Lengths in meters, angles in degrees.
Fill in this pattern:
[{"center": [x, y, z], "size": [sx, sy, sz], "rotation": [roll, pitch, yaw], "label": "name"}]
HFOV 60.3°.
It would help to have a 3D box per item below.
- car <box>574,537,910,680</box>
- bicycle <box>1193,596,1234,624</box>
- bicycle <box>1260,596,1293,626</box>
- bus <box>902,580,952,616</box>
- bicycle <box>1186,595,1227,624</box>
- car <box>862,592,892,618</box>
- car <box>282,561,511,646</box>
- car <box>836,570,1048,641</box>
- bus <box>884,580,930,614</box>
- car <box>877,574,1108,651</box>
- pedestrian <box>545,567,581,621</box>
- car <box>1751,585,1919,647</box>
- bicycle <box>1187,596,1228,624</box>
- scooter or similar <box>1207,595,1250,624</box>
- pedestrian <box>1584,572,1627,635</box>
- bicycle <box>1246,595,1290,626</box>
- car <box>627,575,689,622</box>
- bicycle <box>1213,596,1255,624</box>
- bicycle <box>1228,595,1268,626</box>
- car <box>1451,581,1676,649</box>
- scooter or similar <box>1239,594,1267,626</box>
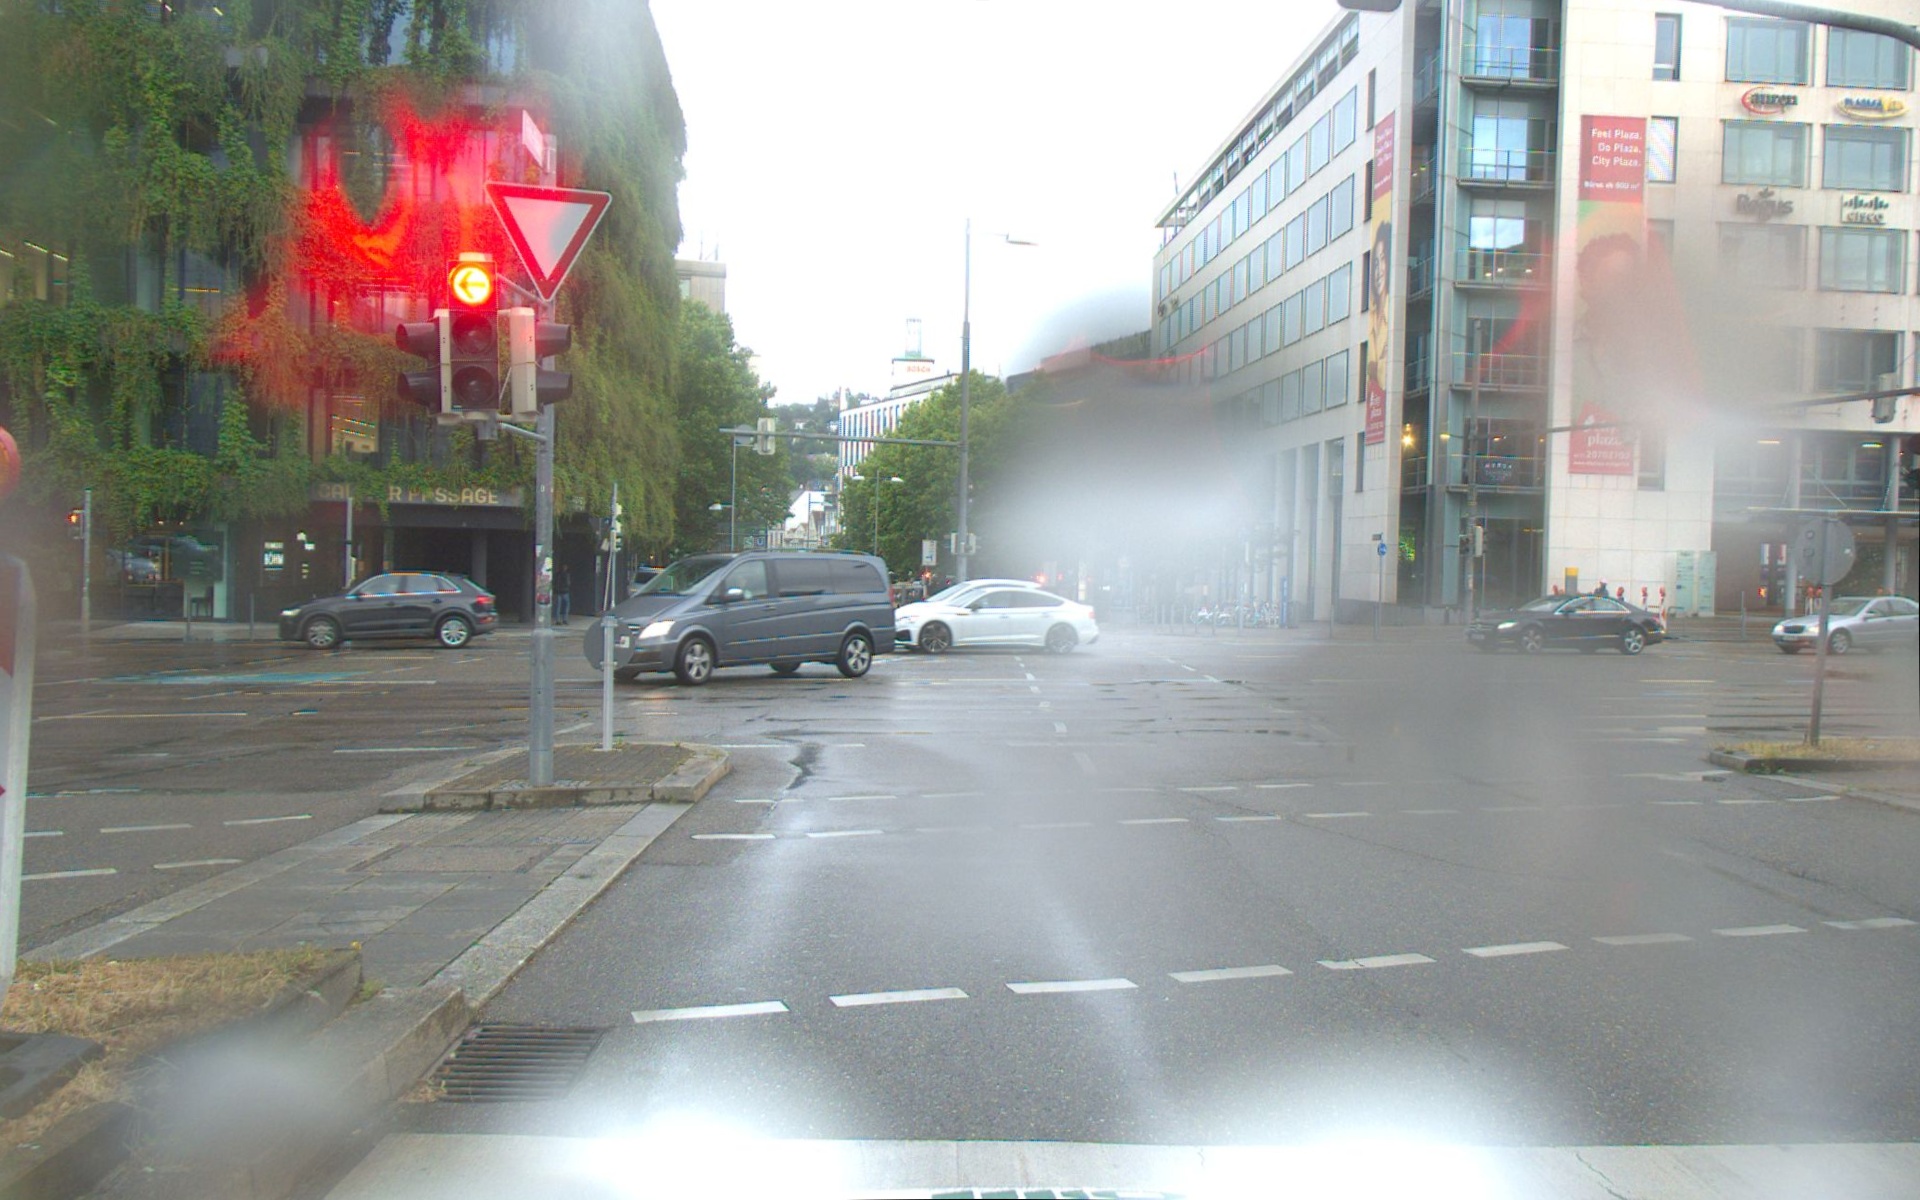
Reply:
[{"center": [-3.188, 0.142, 25.079], "size": [1.966, 1.961, 4.932], "rotation": [1, 0, 43], "label": "car"}, {"center": [11.422, 0.440, 74.488], "size": [1.741, 1.215, 0.586], "rotation": [1, -1, 1], "label": "bicycle"}, {"center": [12.859, 0.460, 67.137], "size": [0.575, 1.215, 1.776], "rotation": [1, -1, 37], "label": "bicycle"}, {"center": [-2.973, -0.207, 145.894], "size": [2.585, 3.048, 7.417], "rotation": [0, 0, -16], "label": "bus"}, {"center": [10.863, 0.424, 72.928], "size": [1.741, 1.215, 0.586], "rotation": [1, -1, 1], "label": "bicycle"}, {"center": [-6.396, 0.339, 126.626], "size": [2.122, 1.795, 5.107], "rotation": [3, 0, -4], "label": "car"}, {"center": [-11.684, 0.084, 34.596], "size": [4.328, 1.667, 1.993], "rotation": [1, 0, -14], "label": "car"}, {"center": [-0.431, 0.143, 38.284], "size": [4.608, 1.539, 1.802], "rotation": [1, 0, -17], "label": "car"}, {"center": [-4.969, -0.274, 153.011], "size": [2.585, 3.048, 7.417], "rotation": [0, 0, -16], "label": "bus"}, {"center": [0.674, 0.271, 35.299], "size": [4.608, 1.539, 1.802], "rotation": [1, 0, -17], "label": "car"}, {"center": [-12.526, -0.186, 52.177], "size": [0.915, 1.673, 0.774], "rotation": [1, -1, -1], "label": "pedestrian"}, {"center": [22.550, 0.398, 41.597], "size": [4.640, 1.503, 1.992], "rotation": [0, 0, -15], "label": "car"}, {"center": [11.005, 0.429, 73.564], "size": [1.741, 1.215, 0.586], "rotation": [1, -1, 1], "label": "bicycle"}, {"center": [11.548, 0.428, 71.147], "size": [1.741, 1.215, 0.586], "rotation": [1, -1, 1], "label": "scooter or similar"}, {"center": [19.407, 0.112, 49.735], "size": [0.942, 1.848, 0.836], "rotation": [1, -1, -1], "label": "pedestrian"}, {"center": [12.122, 0.412, 65.016], "size": [1.590, 1.215, 0.586], "rotation": [1, -1, 25], "label": "bicycle"}, {"center": [-12.389, -0.047, 68.136], "size": [1.832, 1.871, 3.999], "rotation": [1, 0, -1], "label": "car"}, {"center": [11.892, 0.437, 71.775], "size": [1.741, 1.215, 0.586], "rotation": [1, -1, 1], "label": "bicycle"}, {"center": [11.585, 0.409, 66.560], "size": [0.578, 1.215, 1.766], "rotation": [1, 0, -28], "label": "bicycle"}, {"center": [14.359, 0.382, 39.414], "size": [4.765, 1.503, 1.992], "rotation": [1, -2, -14], "label": "car"}, {"center": [11.386, 0.396, 64.321], "size": [0.946, 1.215, 0.453], "rotation": [1, -1, 40], "label": "scooter or similar"}]
